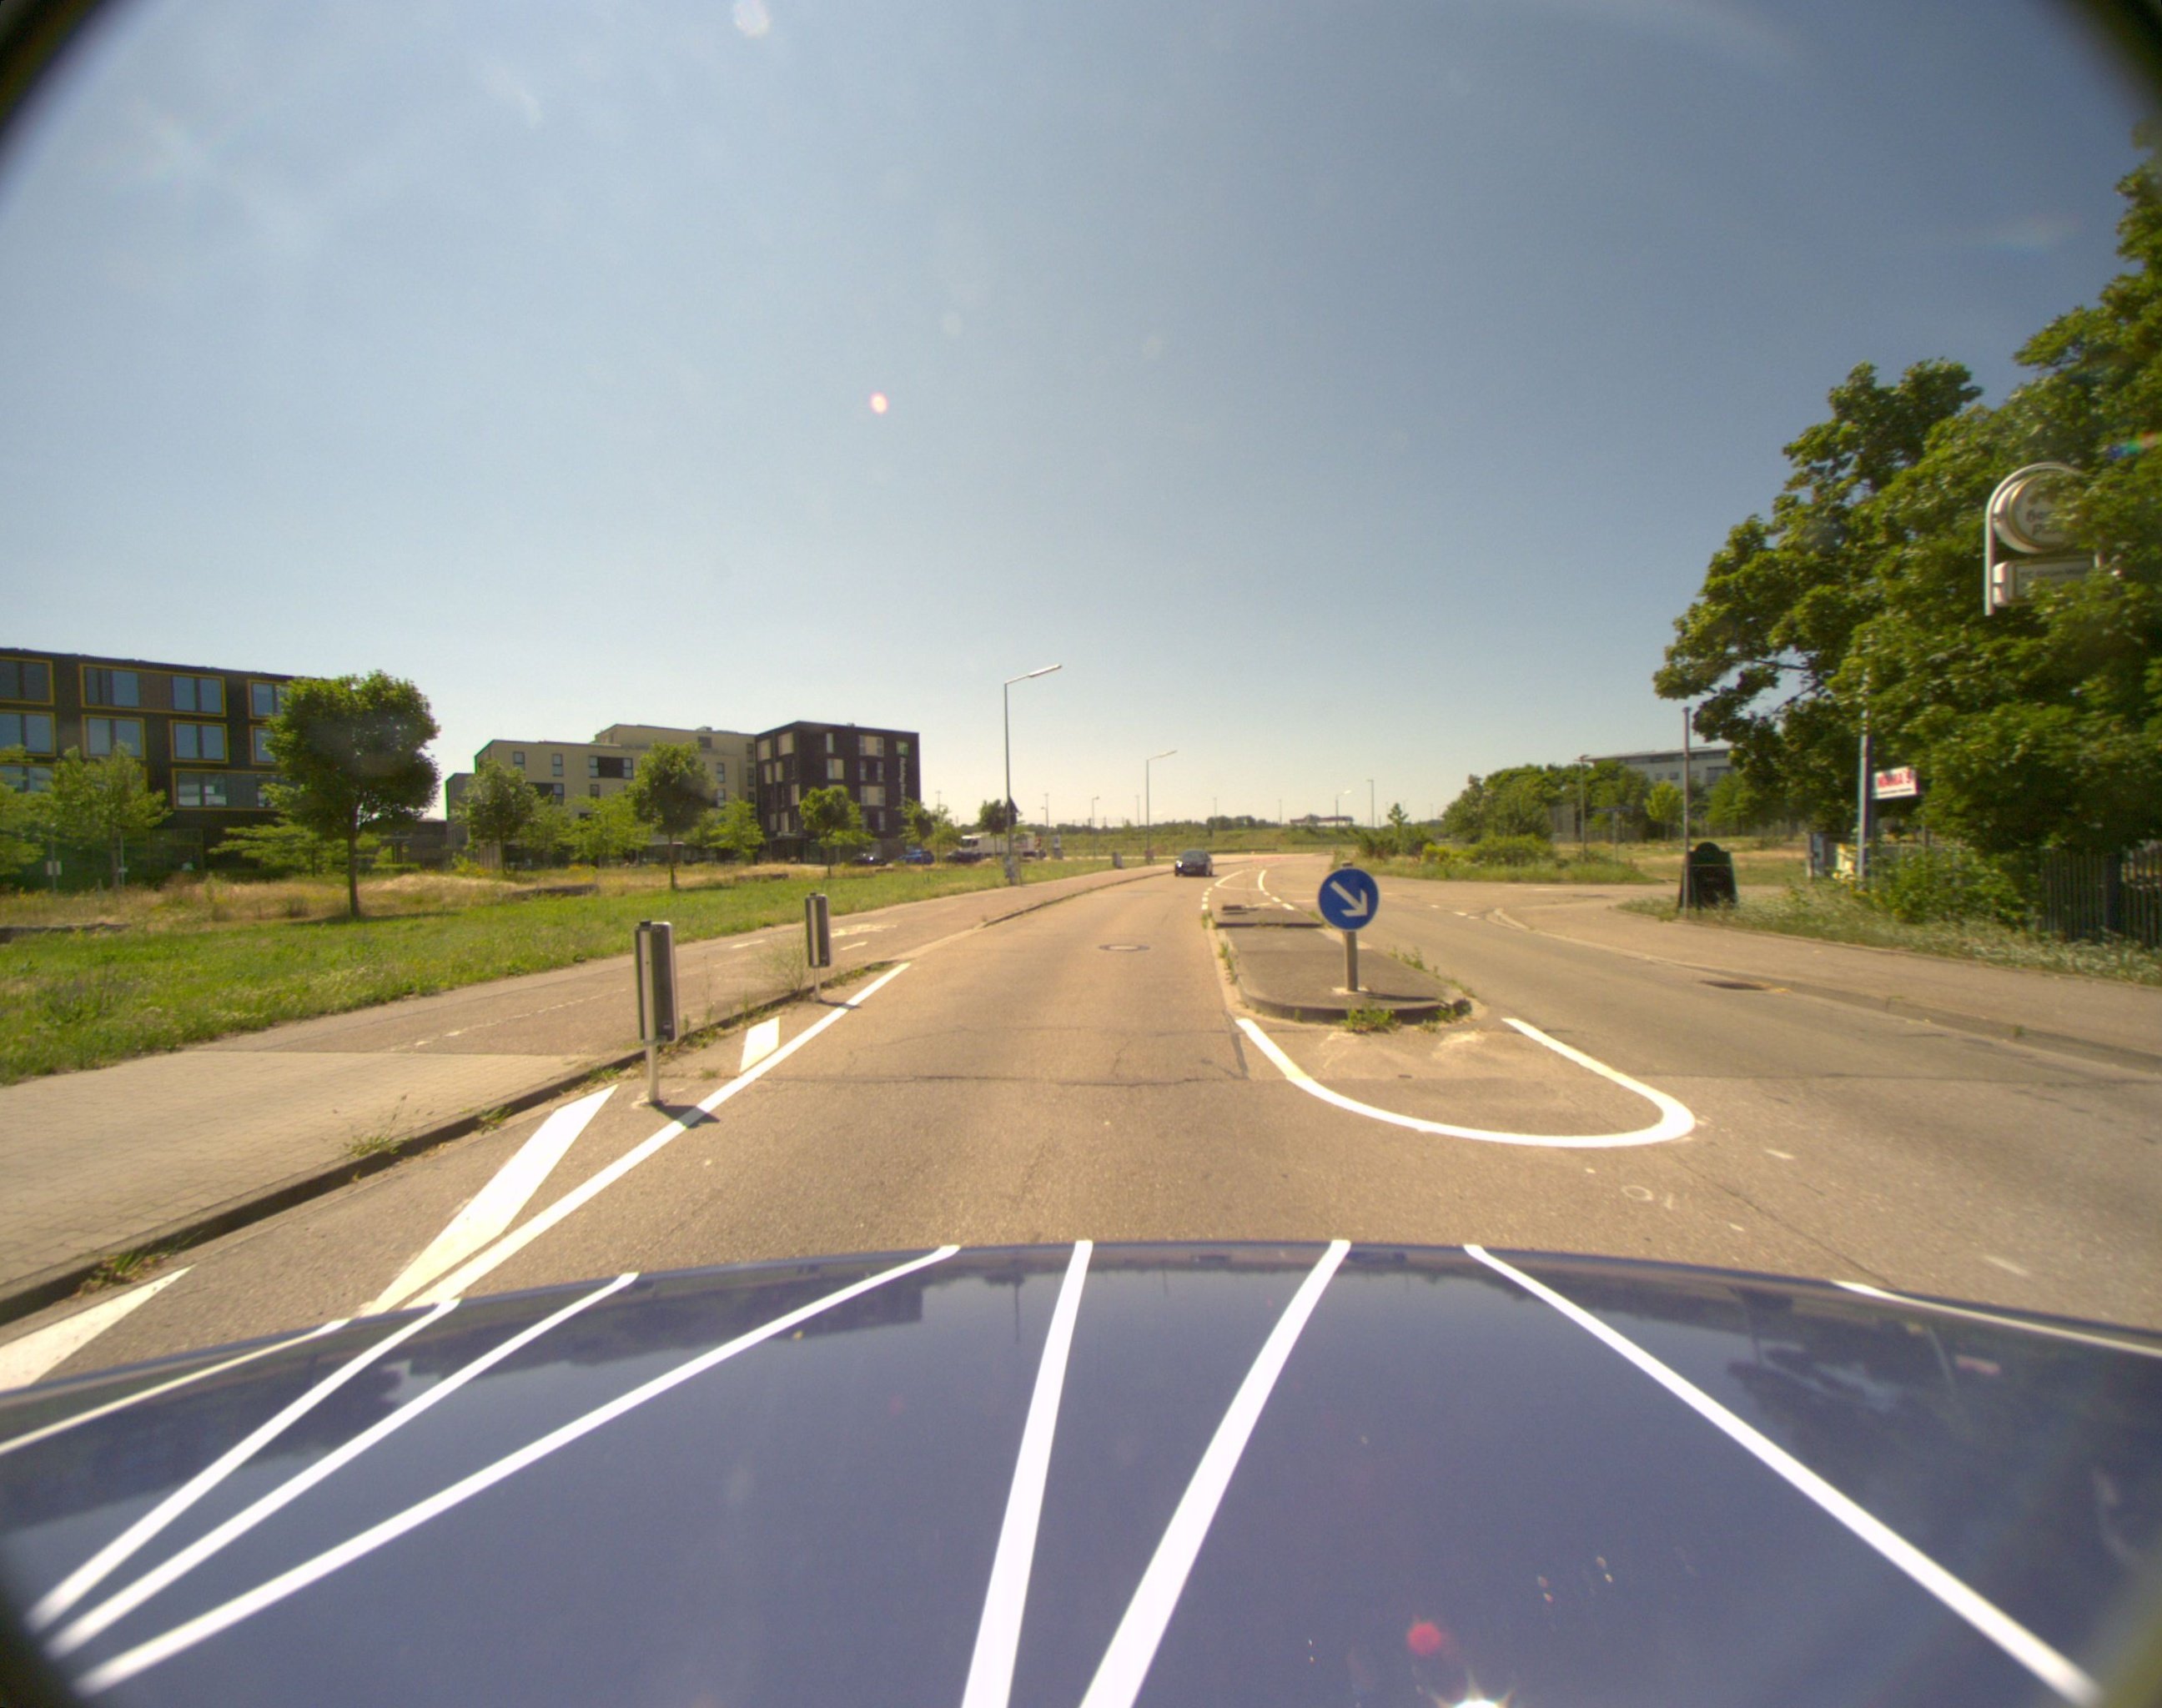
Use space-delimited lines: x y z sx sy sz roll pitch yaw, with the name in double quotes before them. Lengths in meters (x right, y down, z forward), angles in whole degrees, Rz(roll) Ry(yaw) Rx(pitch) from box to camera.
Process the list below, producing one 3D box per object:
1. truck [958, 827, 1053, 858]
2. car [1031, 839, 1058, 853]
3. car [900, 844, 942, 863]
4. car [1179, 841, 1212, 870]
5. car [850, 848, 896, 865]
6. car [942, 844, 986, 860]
"truck" -9.049 -1.512 93.058 12.162 3.443 3.009 -3 3 -42
"car" -5.398 -1.164 112.833 1.884 2.002 3.905 -3 2 -43
"car" -15.221 -0.036 72.269 1.958 1.642 4.059 -3 2 -44
"car" 6.242 0.057 41.059 1.652 1.458 4.162 -1 1 10
"car" -18.829 0.204 68.819 4.114 1.436 1.966 0 2 40
"car" -11.577 -0.175 75.047 4.495 1.553 2.036 0 2 45
